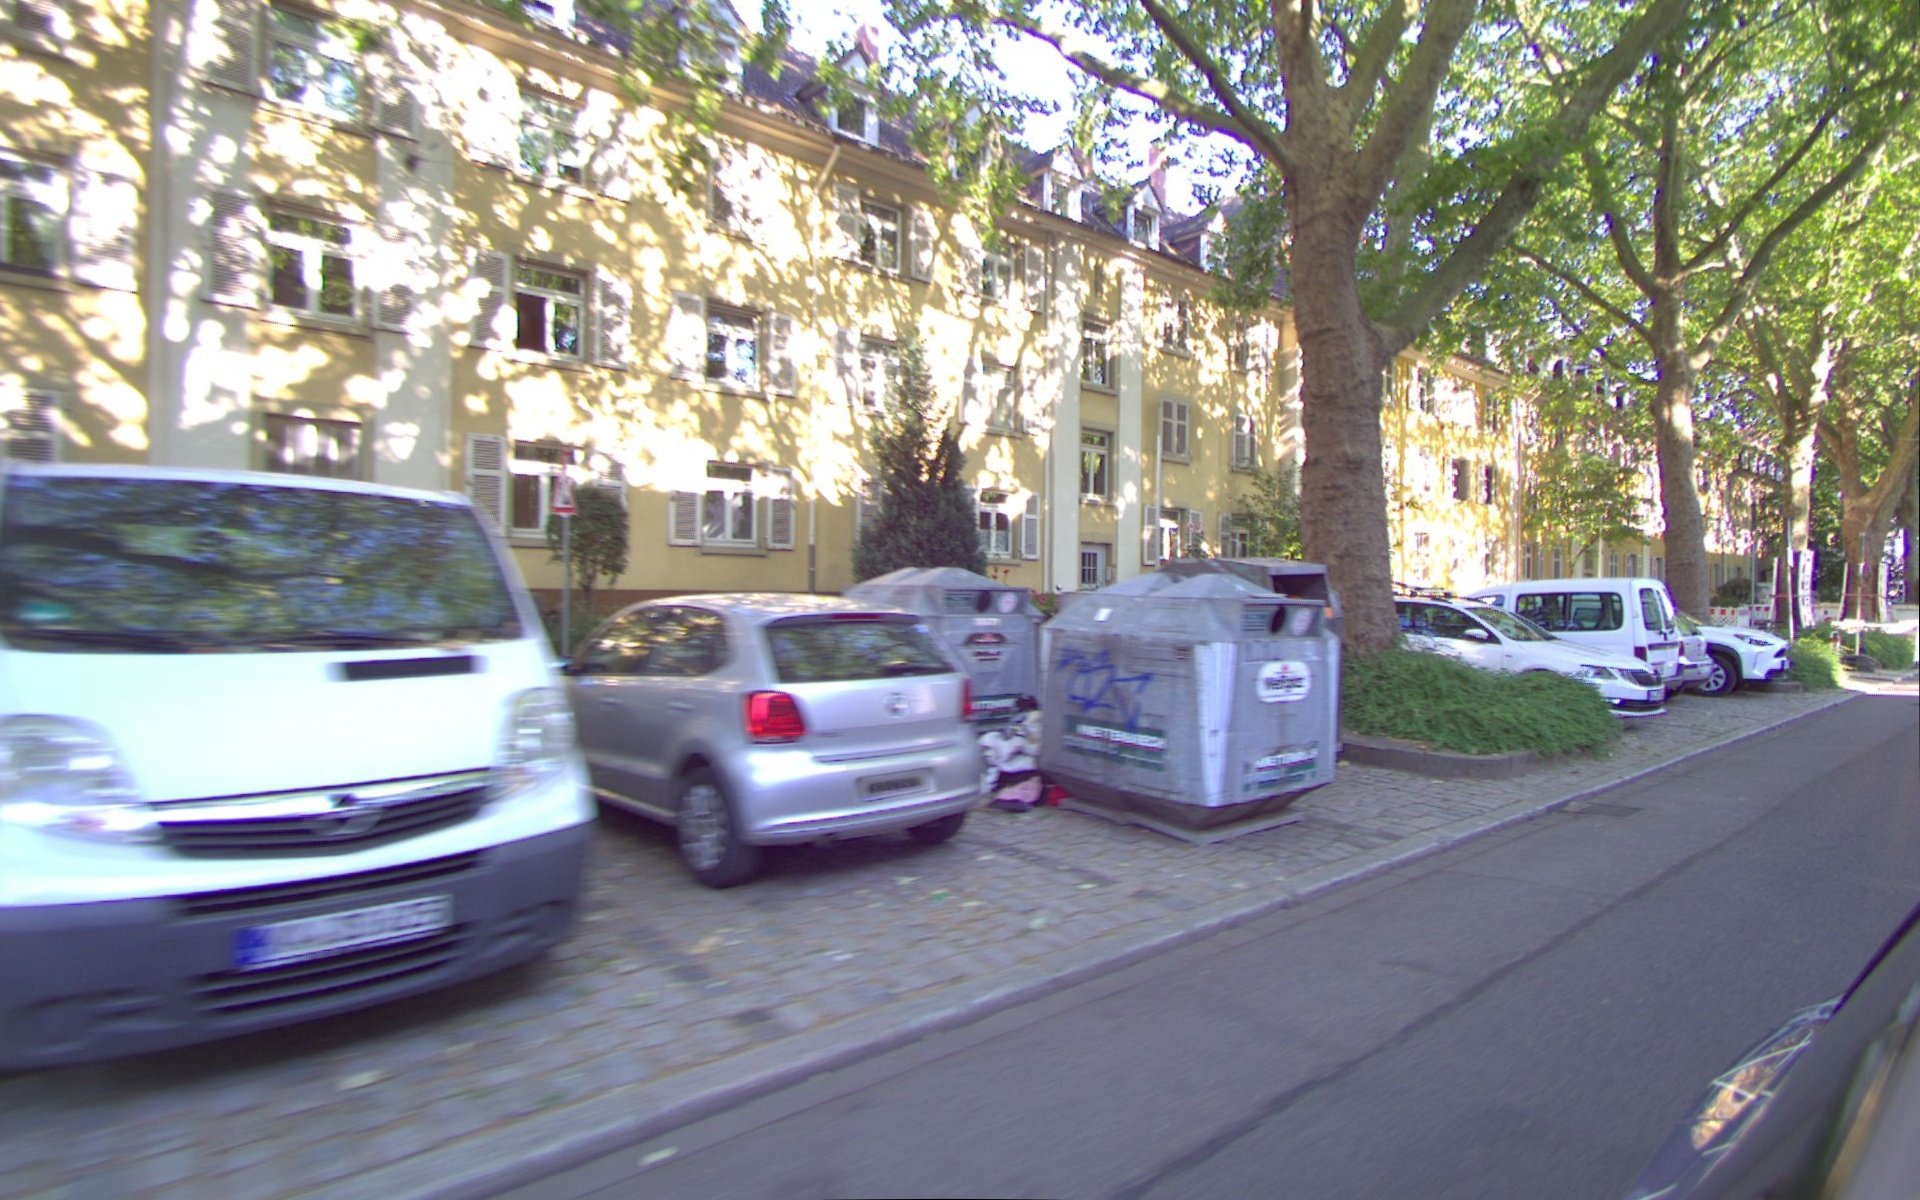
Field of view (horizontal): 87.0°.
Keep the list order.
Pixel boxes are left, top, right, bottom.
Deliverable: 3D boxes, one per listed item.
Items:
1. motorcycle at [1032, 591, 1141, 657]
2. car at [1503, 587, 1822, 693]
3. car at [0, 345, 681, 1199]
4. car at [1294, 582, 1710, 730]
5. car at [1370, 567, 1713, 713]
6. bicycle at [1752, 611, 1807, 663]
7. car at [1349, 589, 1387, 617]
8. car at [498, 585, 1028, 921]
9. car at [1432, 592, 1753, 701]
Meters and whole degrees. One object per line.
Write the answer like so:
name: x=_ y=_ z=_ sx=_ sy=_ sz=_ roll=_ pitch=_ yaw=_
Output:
motorcycle: x=2.403 y=0.426 z=19.036 sx=2.224 sy=1.167 sz=0.716 roll=0 pitch=1 yaw=-41
car: x=11.644 y=0.557 z=16.984 sx=1.883 sy=1.540 sz=4.095 roll=-1 pitch=1 yaw=-41
car: x=-3.330 y=0.372 z=4.614 sx=2.029 sy=1.988 sz=4.843 roll=0 pitch=1 yaw=-42
car: x=6.713 y=0.574 z=13.013 sx=1.767 sy=1.561 sz=4.384 roll=1 pitch=0 yaw=-36
car: x=8.196 y=0.461 z=14.556 sx=1.881 sy=1.794 sz=3.856 roll=0 pitch=1 yaw=-36
bicycle: x=18.204 y=0.793 z=22.465 sx=1.777 sy=1.084 sz=0.636 roll=0 pitch=0 yaw=-41
car: x=13.134 y=0.104 z=32.549 sx=1.546 sy=0.863 sz=0.445 roll=0 pitch=-2 yaw=-40
car: x=-1.418 y=0.646 z=6.292 sx=1.644 sy=1.465 sz=3.530 roll=0 pitch=1 yaw=-43
car: x=9.691 y=0.617 z=15.770 sx=1.817 sy=1.451 sz=3.856 roll=0 pitch=1 yaw=-36
